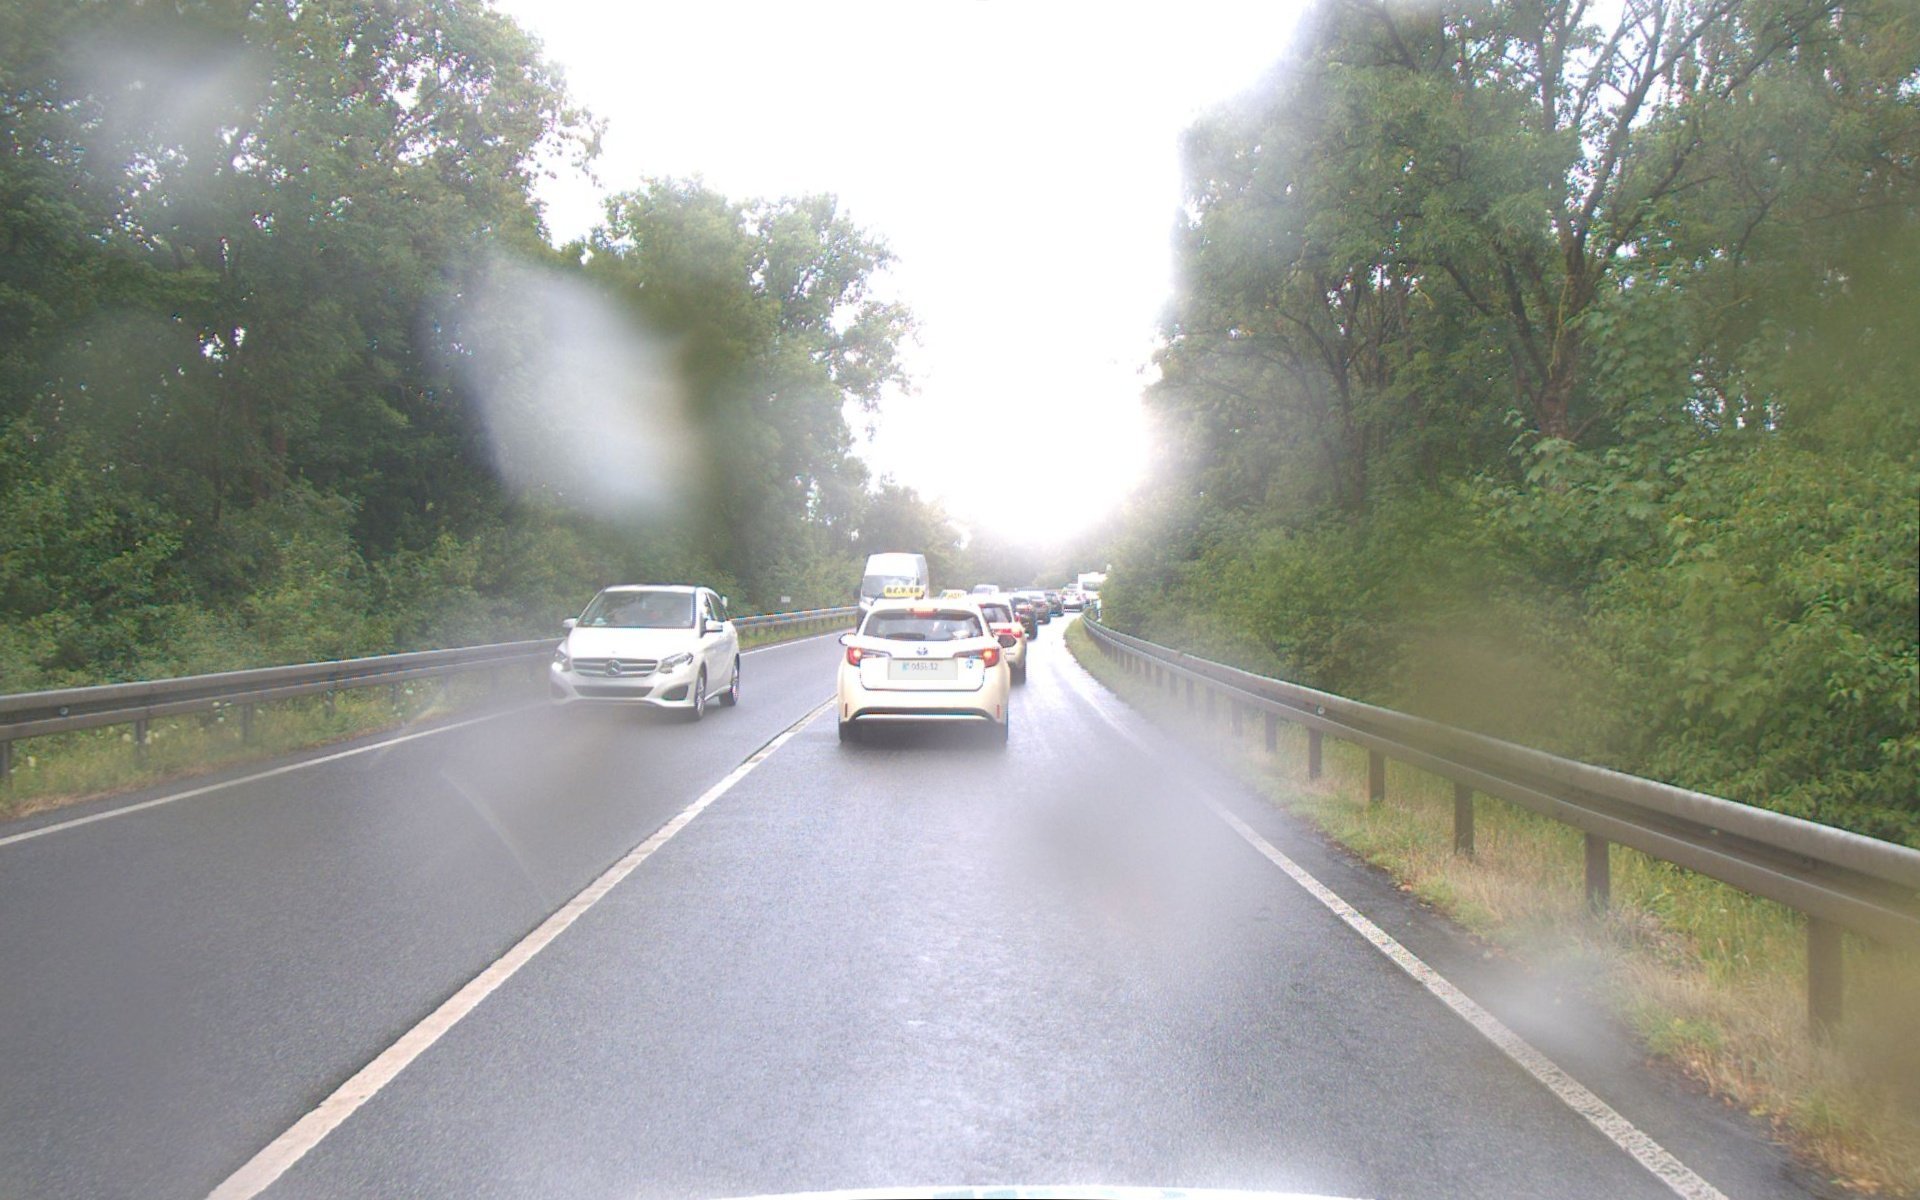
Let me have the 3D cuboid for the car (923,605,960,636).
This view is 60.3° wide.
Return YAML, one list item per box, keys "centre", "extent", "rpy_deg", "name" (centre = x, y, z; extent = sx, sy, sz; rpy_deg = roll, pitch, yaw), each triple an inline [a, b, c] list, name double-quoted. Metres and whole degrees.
- centre: [-0.890, 0.987, 81.395]
  extent: [1.692, 1.456, 3.850]
  rpy_deg: [1, 0, 1]
  name: "car"

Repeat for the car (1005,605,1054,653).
- centre: [2.334, 0.962, 55.595]
  extent: [1.577, 1.574, 3.815]
  rpy_deg: [0, -1, 2]
  name: "car"

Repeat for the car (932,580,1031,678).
- centre: [0.425, 0.494, 29.473]
  extent: [1.633, 1.608, 3.893]
  rpy_deg: [1, 0, 2]
  name: "car"

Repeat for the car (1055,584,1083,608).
- centre: [7.545, -0.253, 113.971]
  extent: [1.732, 1.574, 3.816]
  rpy_deg: [1, -1, 6]
  name: "car"

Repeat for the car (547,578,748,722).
- centre: [-3.790, 0.545, 20.780]
  extent: [1.657, 1.583, 4.442]
  rpy_deg: [1, 0, 0]
  name: "car"

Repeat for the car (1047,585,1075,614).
- centre: [5.805, -0.009, 95.238]
  extent: [1.582, 1.641, 3.623]
  rpy_deg: [1, -1, 4]
  name: "car"

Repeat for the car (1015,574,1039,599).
- centre: [5.790, -1.159, 142.755]
  extent: [1.952, 2.049, 4.001]
  rpy_deg: [1, -1, 2]
  name: "car"

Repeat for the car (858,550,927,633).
- centre: [-2.294, -0.269, 57.642]
  extent: [2.005, 2.723, 6.172]
  rpy_deg: [0, -1, 1]
  name: "car"

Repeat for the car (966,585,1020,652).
- centre: [0.838, 0.459, 41.506]
  extent: [1.274, 1.574, 3.260]
  rpy_deg: [1, -1, 1]
  name: "car"

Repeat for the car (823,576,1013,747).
- centre: [-0.406, 0.607, 17.896]
  extent: [1.796, 1.608, 4.156]
  rpy_deg: [1, 0, 0]
  name: "car"

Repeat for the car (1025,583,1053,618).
- centre: [3.676, 0.023, 76.886]
  extent: [1.142, 1.574, 2.606]
  rpy_deg: [1, -1, 6]
  name: "car"

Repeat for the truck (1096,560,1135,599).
- centre: [15.526, -1.988, 164.689]
  extent: [3.041, 3.745, 7.006]
  rpy_deg: [1, -1, 12]
  name: "truck"

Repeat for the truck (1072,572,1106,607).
- centre: [10.637, -0.852, 137.040]
  extent: [2.496, 2.760, 7.537]
  rpy_deg: [1, 0, 2]
  name: "truck"
